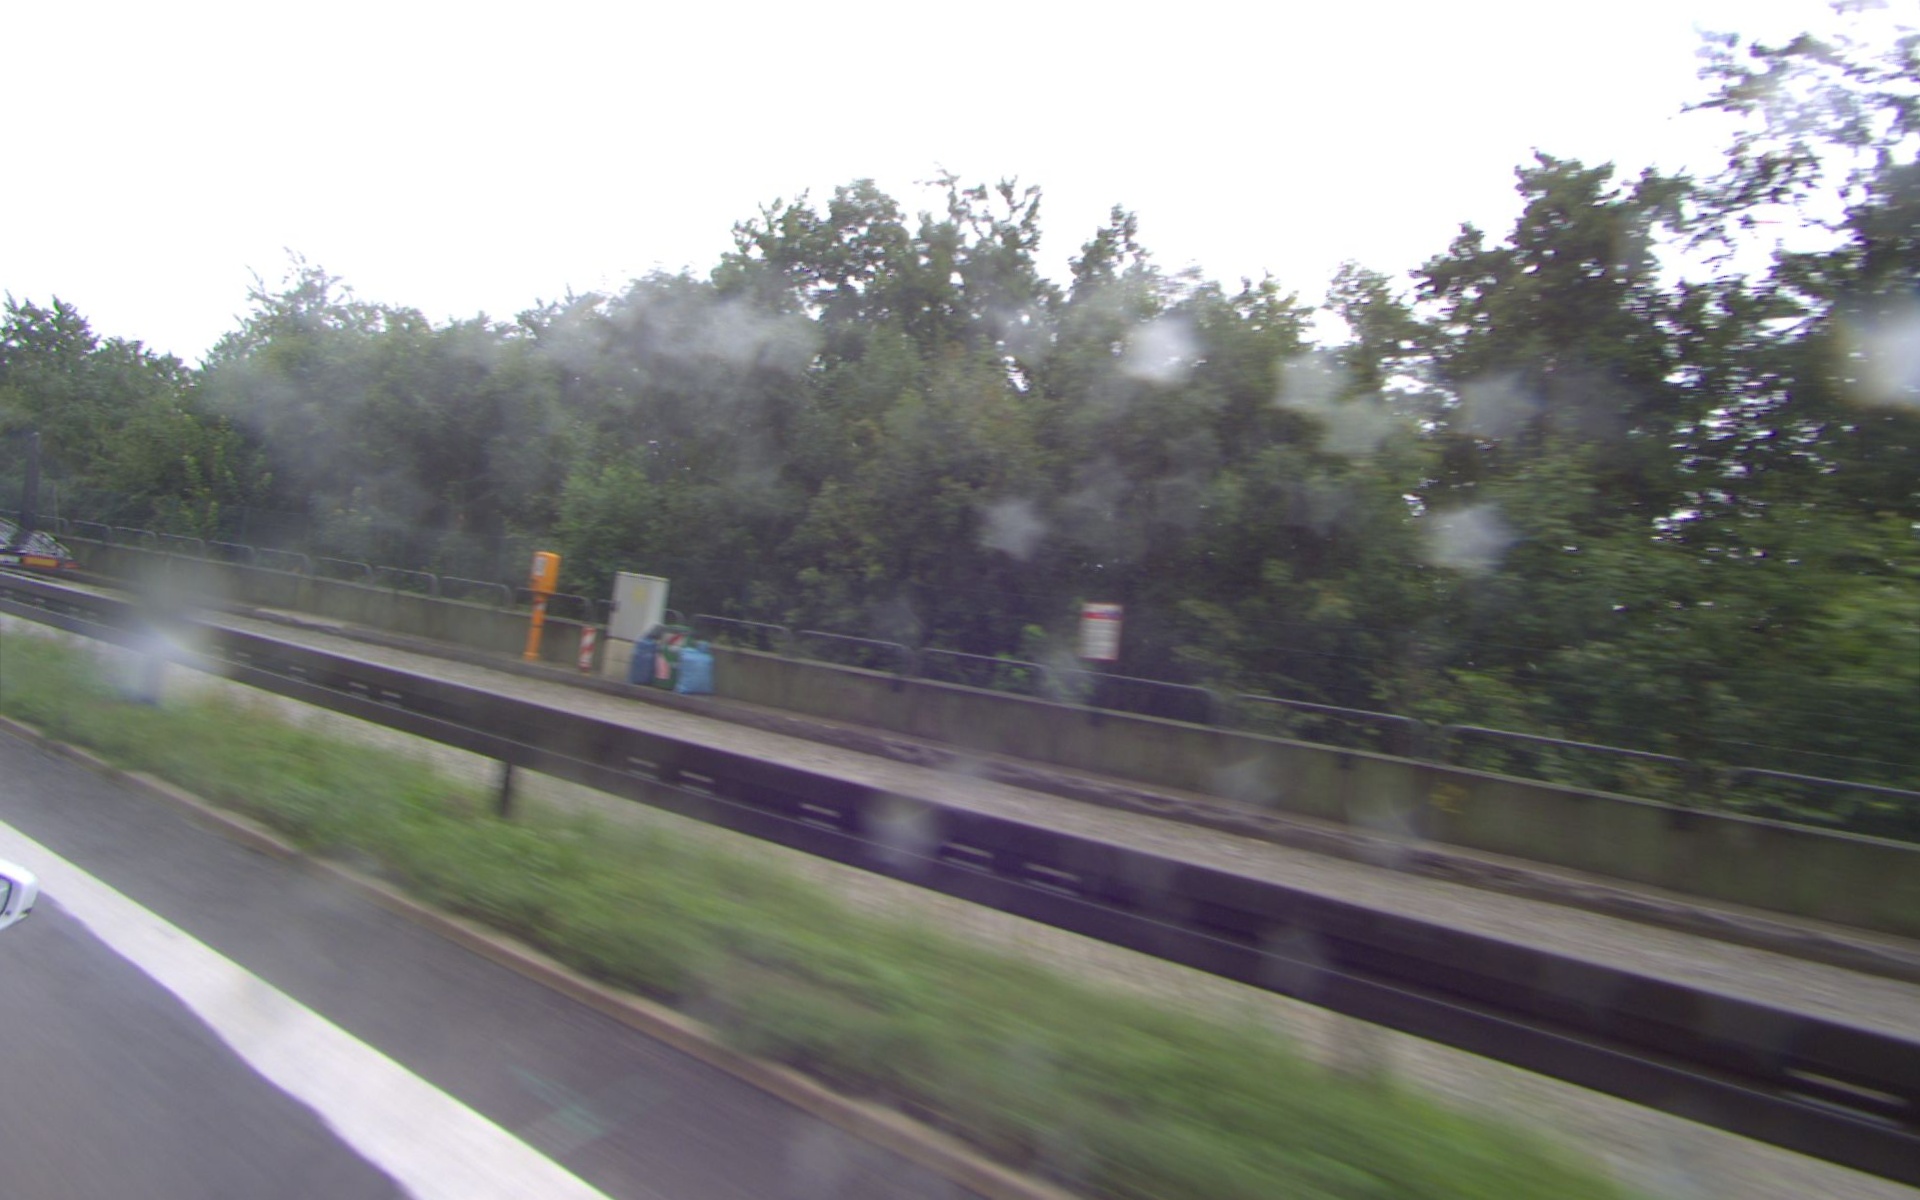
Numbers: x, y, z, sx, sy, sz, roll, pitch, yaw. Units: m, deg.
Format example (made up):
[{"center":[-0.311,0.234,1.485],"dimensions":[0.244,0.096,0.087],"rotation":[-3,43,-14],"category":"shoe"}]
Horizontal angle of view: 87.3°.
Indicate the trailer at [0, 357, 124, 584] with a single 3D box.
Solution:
[{"center":[-25.327,-3.347,23.449],"dimensions":[14.435,4.295,2.901],"rotation":[7,-1,26],"category":"trailer"}]
